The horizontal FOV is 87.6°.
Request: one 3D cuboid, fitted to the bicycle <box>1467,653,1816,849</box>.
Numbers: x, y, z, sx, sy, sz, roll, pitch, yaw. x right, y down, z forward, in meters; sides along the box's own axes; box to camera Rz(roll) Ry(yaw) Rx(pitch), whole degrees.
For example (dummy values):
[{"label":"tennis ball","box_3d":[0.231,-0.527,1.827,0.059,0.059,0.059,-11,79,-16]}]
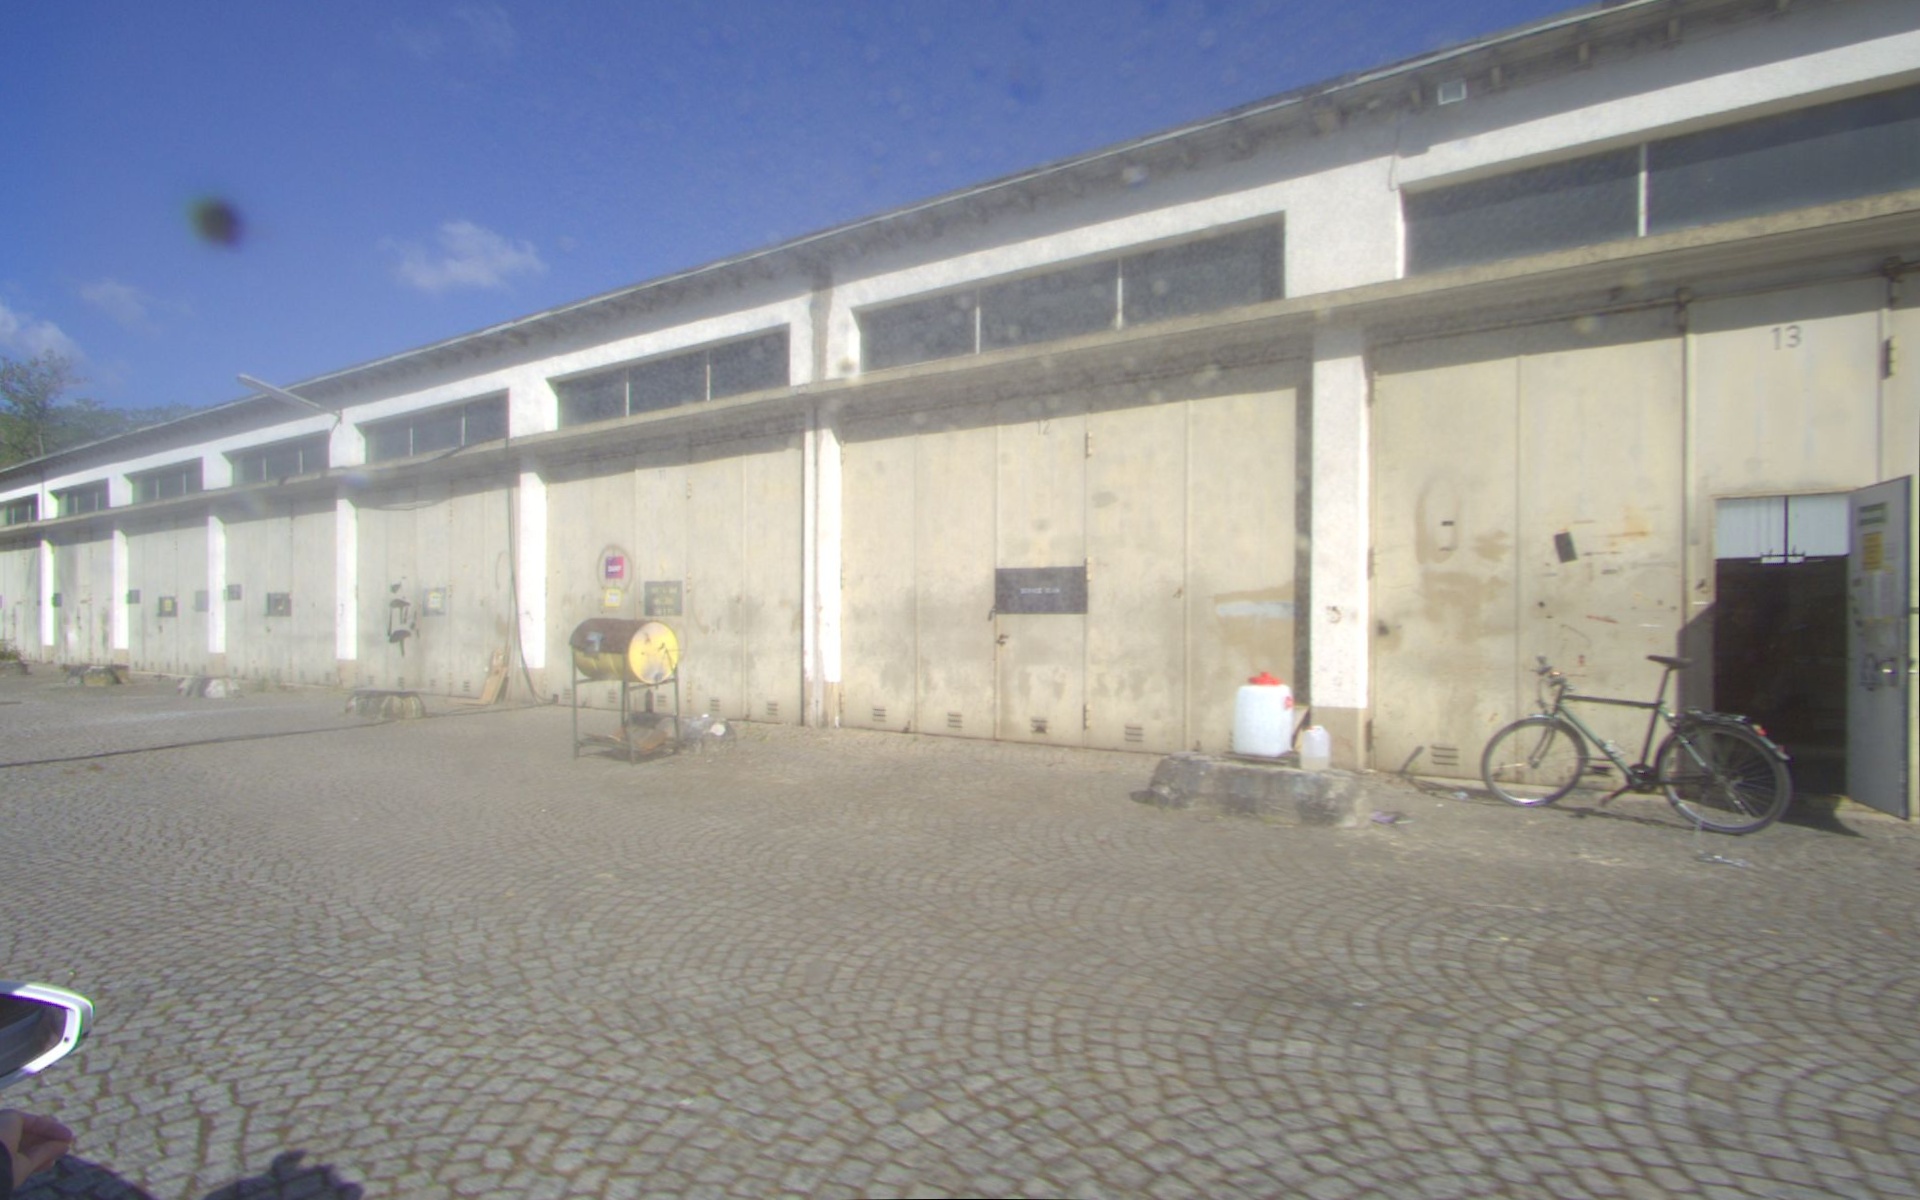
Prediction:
[{"label":"bicycle","box_3d":[4.418,0.910,6.599,0.660,1.081,1.807,1,-2,-44]}]
